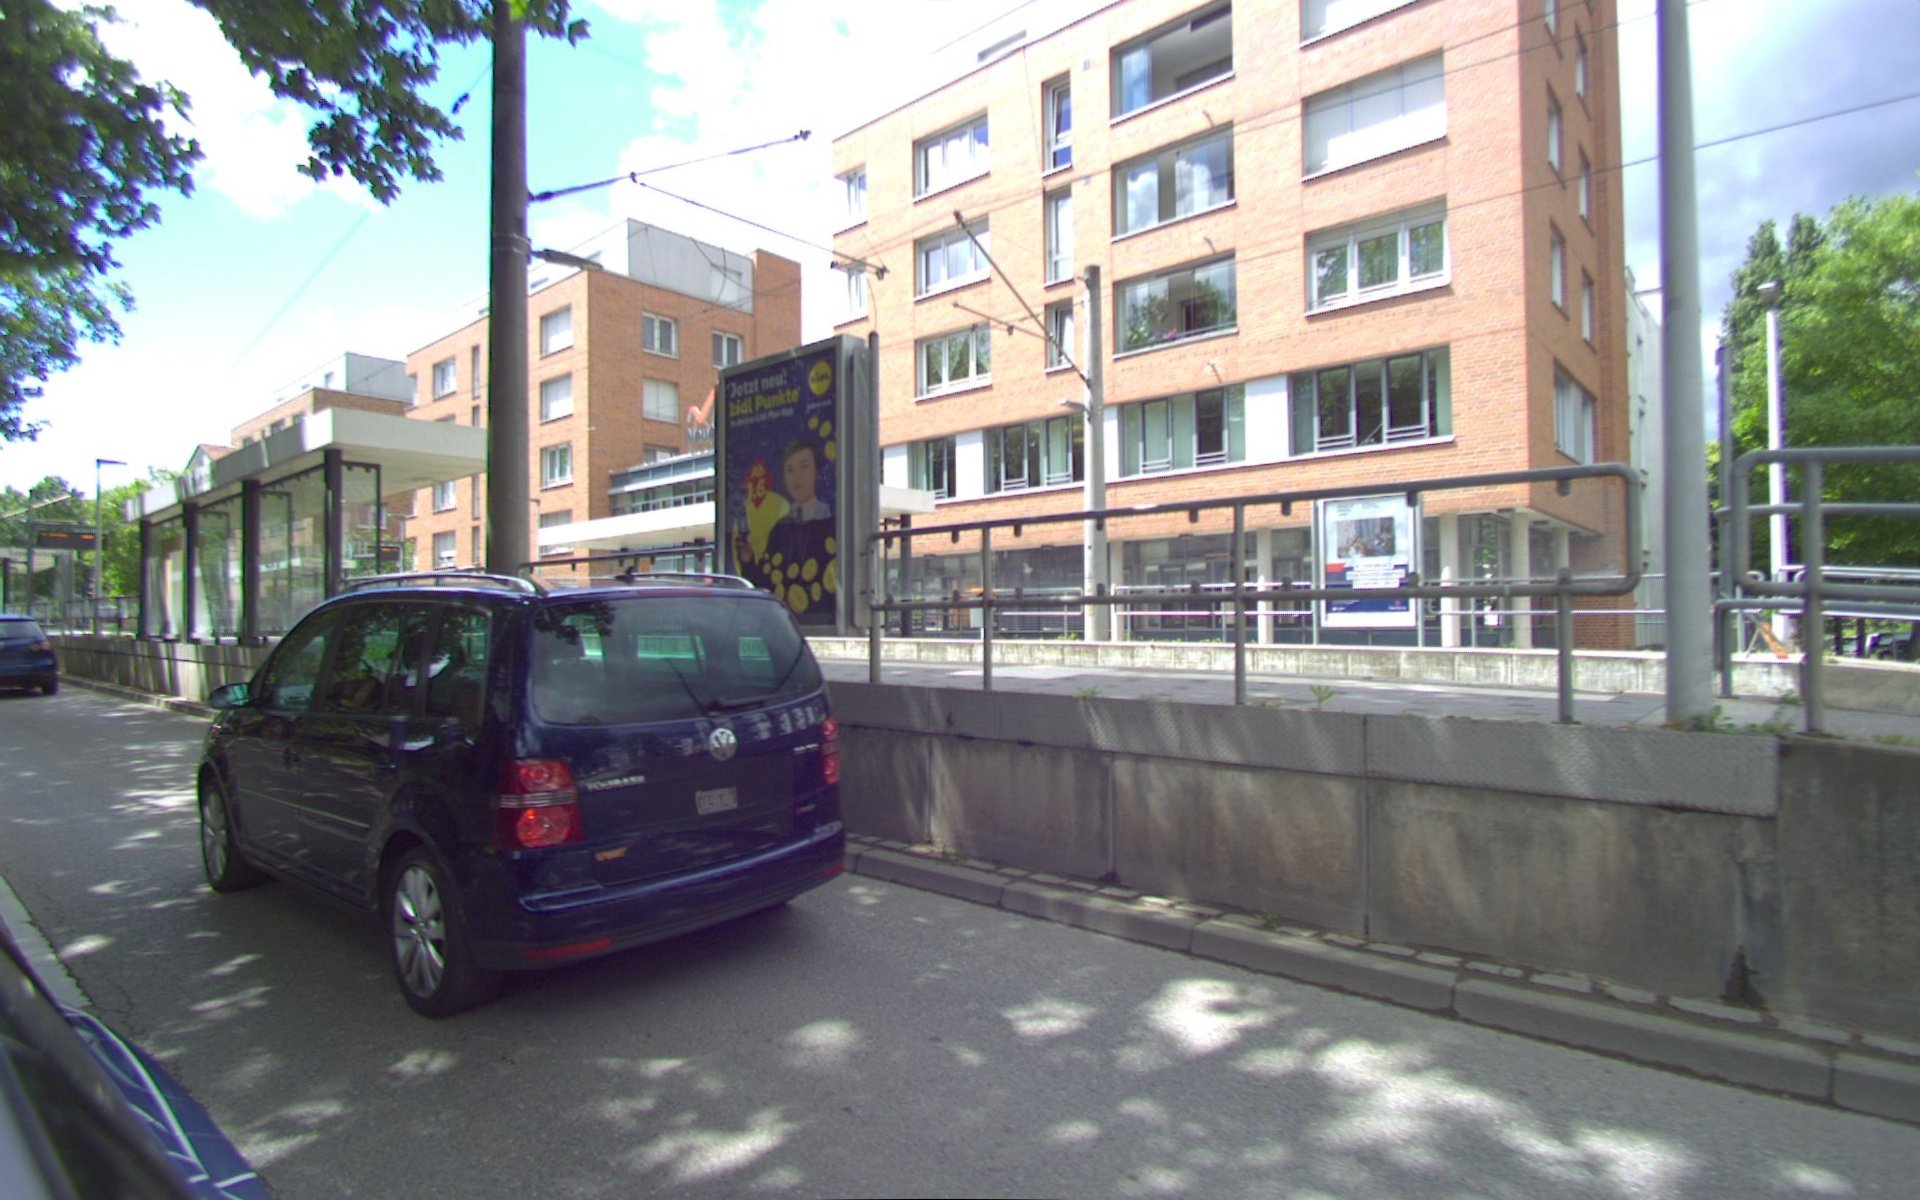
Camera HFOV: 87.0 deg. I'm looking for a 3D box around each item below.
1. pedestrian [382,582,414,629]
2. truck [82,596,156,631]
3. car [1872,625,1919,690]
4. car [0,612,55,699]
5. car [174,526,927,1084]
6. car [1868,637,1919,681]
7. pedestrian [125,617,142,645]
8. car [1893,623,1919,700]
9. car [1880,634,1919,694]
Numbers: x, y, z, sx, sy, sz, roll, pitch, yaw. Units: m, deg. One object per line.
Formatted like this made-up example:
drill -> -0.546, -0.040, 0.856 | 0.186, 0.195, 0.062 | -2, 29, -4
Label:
pedestrian -> -19.572, 0.193, 35.231 | 0.815, 1.641, 0.743 | -1, -1, 41
truck -> -105.550, 1.775, 127.185 | 2.589, 4.124, 9.627 | 0, -2, -9
car -> 22.920, 1.275, 22.379 | 4.001, 1.437, 1.823 | -2, -3, 44
car -> -18.994, 1.024, 19.627 | 3.858, 1.576, 1.679 | -1, -1, 41
car -> -2.273, 0.620, 4.991 | 4.116, 1.645, 1.736 | -1, 0, 41
car -> 32.880, 1.956, 33.574 | 4.001, 1.437, 1.823 | -2, -3, 44
pedestrian -> -55.988, 2.103, 68.548 | 0.828, 1.839, 0.736 | -2, -3, 40
car -> 21.206, 1.229, 20.010 | 4.000, 1.564, 1.874 | -2, -3, 43
car -> 24.557, 1.519, 23.995 | 4.001, 1.437, 1.823 | -2, -3, 44
